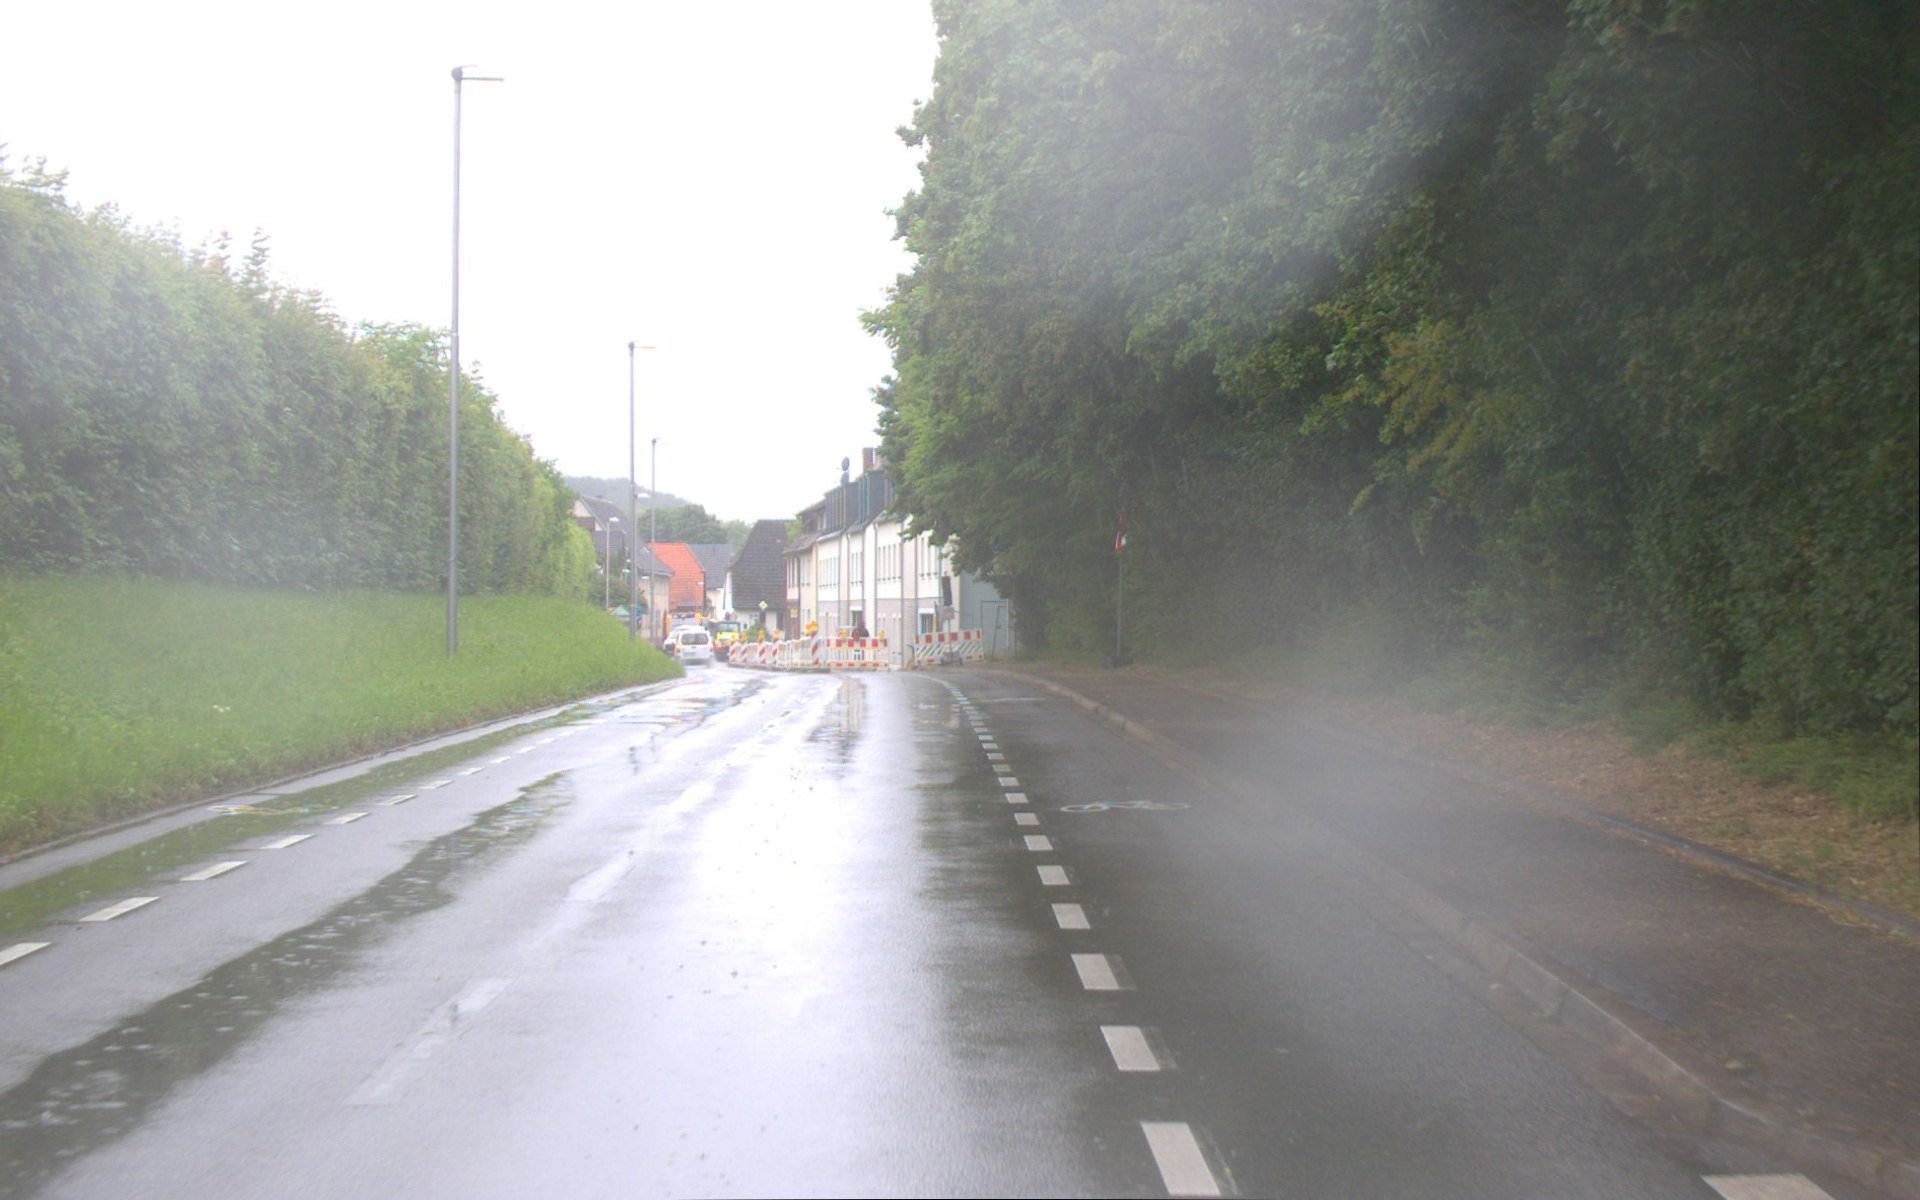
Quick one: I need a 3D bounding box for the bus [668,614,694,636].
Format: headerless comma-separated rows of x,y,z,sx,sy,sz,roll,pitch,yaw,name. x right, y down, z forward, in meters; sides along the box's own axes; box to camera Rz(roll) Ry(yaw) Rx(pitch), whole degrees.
-20.325,1.805,250.437,1.794,1.405,4.001,3,1,-4,bus

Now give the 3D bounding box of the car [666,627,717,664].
-12.787,2.155,163.570,1.993,1.605,4.001,2,1,-10,car
